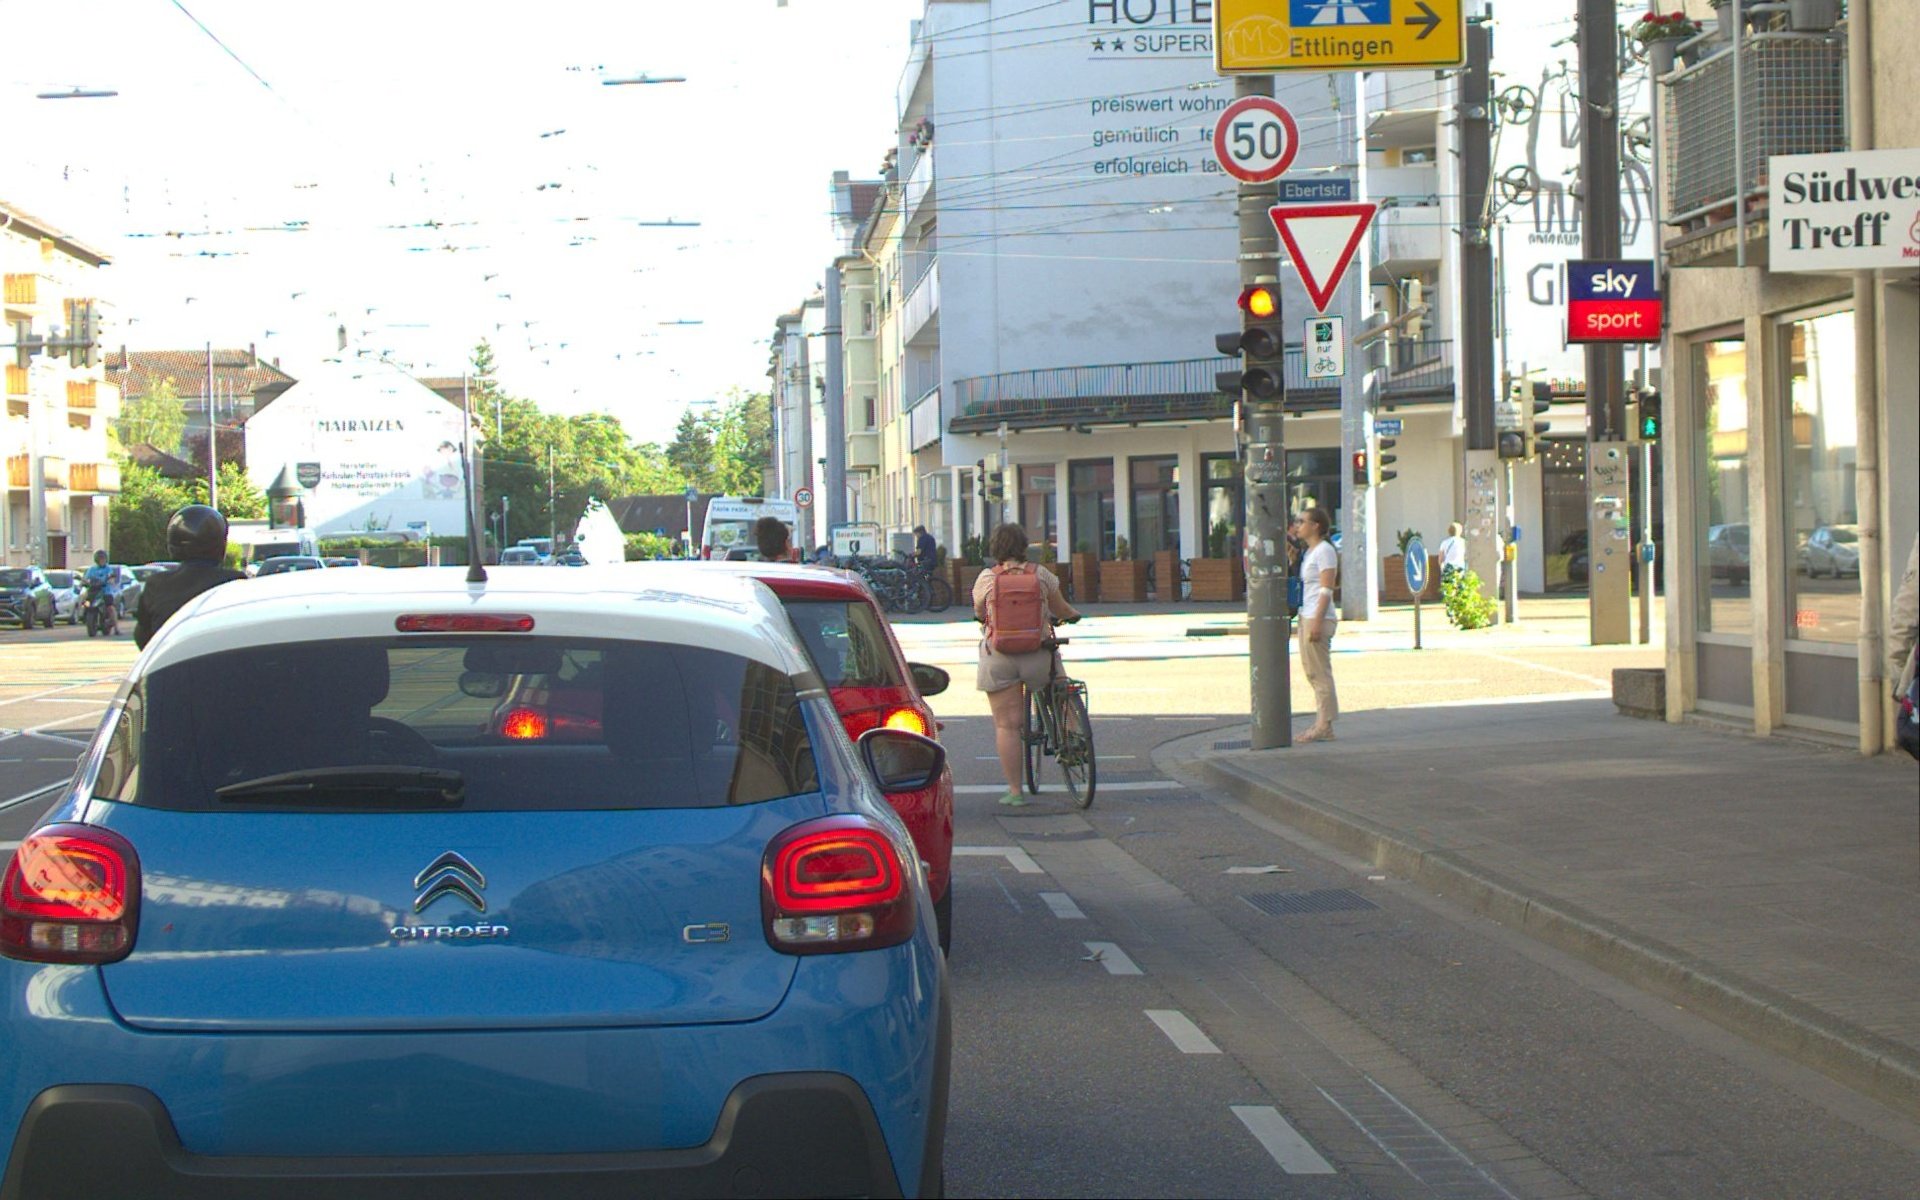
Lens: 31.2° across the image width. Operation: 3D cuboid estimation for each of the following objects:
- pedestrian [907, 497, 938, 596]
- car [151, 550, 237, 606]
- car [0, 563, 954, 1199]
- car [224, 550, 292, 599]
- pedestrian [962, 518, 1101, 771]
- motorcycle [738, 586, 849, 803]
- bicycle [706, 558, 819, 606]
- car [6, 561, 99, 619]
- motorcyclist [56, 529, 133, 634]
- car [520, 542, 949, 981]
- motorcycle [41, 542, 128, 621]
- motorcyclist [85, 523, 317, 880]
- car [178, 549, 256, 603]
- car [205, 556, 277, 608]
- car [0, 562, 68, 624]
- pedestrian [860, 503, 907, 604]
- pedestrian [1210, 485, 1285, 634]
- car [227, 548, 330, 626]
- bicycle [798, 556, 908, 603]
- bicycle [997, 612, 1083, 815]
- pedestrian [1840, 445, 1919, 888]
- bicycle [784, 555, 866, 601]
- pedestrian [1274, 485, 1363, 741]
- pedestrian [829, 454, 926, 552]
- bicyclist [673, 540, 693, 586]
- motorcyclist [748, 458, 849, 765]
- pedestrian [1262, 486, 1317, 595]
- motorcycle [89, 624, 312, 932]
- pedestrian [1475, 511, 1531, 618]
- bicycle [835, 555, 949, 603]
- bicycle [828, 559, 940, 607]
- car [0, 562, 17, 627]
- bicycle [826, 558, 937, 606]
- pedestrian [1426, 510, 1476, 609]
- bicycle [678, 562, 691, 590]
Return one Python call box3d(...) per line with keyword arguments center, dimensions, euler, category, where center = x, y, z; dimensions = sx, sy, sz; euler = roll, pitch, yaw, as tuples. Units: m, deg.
box3d(center=(-0.764, -1.093, 70.369), dimensions=(0.577, 2.007, 0.626), euler=(1, 0, -3), category="pedestrian")
box3d(center=(-23.648, -0.691, 106.260), dimensions=(1.983, 1.681, 4.001), euler=(1, 1, -3), category="car")
box3d(center=(-0.866, 0.655, 7.142), dimensions=(1.654, 1.439, 3.523), euler=(1, 1, -1), category="car")
box3d(center=(-24.745, -0.891, 121.267), dimensions=(1.846, 1.681, 3.875), euler=(1, 1, -4), category="car")
box3d(center=(0.416, 0.256, 20.231), dimensions=(0.777, 1.455, 0.682), euler=(1, 0, -1), category="pedestrian")
box3d(center=(-0.922, 0.497, 19.425), dimensions=(0.526, 1.136, 2.290), euler=(1, 1, -1), category="motorcycle")
box3d(center=(-3.810, -0.354, 66.227), dimensions=(2.132, 0.898, 0.367), euler=(1, 0, -9), category="bicycle")
box3d(center=(-24.272, -0.277, 92.051), dimensions=(1.732, 1.493, 4.001), euler=(1, 1, -5), category="car")
box3d(center=(-16.942, -0.365, 67.325), dimensions=(1.185, 2.007, 1.276), euler=(-1, 1, -3), category="motorcyclist")
box3d(center=(-0.783, 0.536, 13.146), dimensions=(1.424, 1.462, 2.924), euler=(-1, 0, -1), category="car")
box3d(center=(-17.000, -0.369, 66.837), dimensions=(0.923, 1.481, 3.726), euler=(1, 1, -3), category="motorcycle")
box3d(center=(-3.268, 0.425, 14.851), dimensions=(0.860, 1.500, 0.598), euler=(1, 0, -1), category="motorcyclist")
box3d(center=(-24.034, -0.782, 111.382), dimensions=(1.882, 1.681, 4.001), euler=(1, 1, -4), category="car")
box3d(center=(-24.373, -0.621, 116.684), dimensions=(1.833, 1.681, 4.001), euler=(1, 1, -4), category="car")
box3d(center=(-23.644, -0.187, 86.076), dimensions=(1.785, 1.493, 4.001), euler=(1, 1, -4), category="car")
box3d(center=(-1.537, -0.937, 69.158), dimensions=(0.630, 2.007, 0.724), euler=(0, 0, -36), category="pedestrian")
box3d(center=(3.925, -0.552, 46.949), dimensions=(0.926, 2.007, 0.759), euler=(1, 0, -1), category="pedestrian")
box3d(center=(-15.105, -0.310, 76.379), dimensions=(1.774, 1.660, 3.857), euler=(1, 1, -4), category="car")
box3d(center=(-2.128, -0.413, 68.310), dimensions=(2.132, 0.898, 0.367), euler=(1, 0, -9), category="bicycle")
box3d(center=(0.464, 0.647, 20.497), dimensions=(0.427, 1.119, 1.998), euler=(1, 1, -1), category="bicycle")
box3d(center=(3.774, 0.240, 12.693), dimensions=(0.825, 1.587, 0.751), euler=(1, 0, -1), category="pedestrian")
box3d(center=(-2.734, -0.444, 69.404), dimensions=(1.785, 0.898, 0.366), euler=(1, 1, 34), category="bicycle")
box3d(center=(2.533, 0.089, 24.320), dimensions=(0.517, 1.777, 0.595), euler=(1, 0, -2), category="pedestrian")
box3d(center=(-1.746, -2.040, 73.519), dimensions=(1.993, 2.007, 4.000), euler=(1, 1, -1), category="pedestrian")
box3d(center=(-8.879, -1.178, 110.310), dimensions=(0.561, 1.472, 0.748), euler=(1, 0, 0), category="bicyclist")
box3d(center=(-0.915, 0.062, 19.608), dimensions=(0.526, 1.710, 0.717), euler=(1, 0, -1), category="motorcyclist")
box3d(center=(6.126, -1.103, 63.924), dimensions=(0.758, 2.007, 0.710), euler=(1, 0, 31), category="pedestrian")
box3d(center=(-3.274, 0.731, 14.965), dimensions=(0.537, 1.215, 1.981), euler=(1, 1, -1), category="motorcycle")
box3d(center=(8.518, -0.555, 53.880), dimensions=(0.752, 1.652, 0.883), euler=(1, 0, 16), category="pedestrian")
box3d(center=(-1.300, -0.402, 65.890), dimensions=(2.132, 0.898, 0.367), euler=(1, 0, -9), category="bicycle")
box3d(center=(-1.481, -0.331, 67.024), dimensions=(2.132, 0.898, 0.367), euler=(1, 0, -9), category="bicycle")
box3d(center=(-23.199, -0.135, 79.376), dimensions=(1.787, 1.506, 4.150), euler=(1, 1, -2), category="car")
box3d(center=(-1.546, -0.350, 67.428), dimensions=(2.132, 0.898, 0.367), euler=(1, 0, -9), category="bicycle")
box3d(center=(8.026, -0.661, 56.208), dimensions=(0.736, 1.595, 0.748), euler=(1, 0, 13), category="pedestrian")
box3d(center=(-8.880, -0.771, 110.758), dimensions=(0.349, 0.900, 1.859), euler=(1, 1, -2), category="bicycle")
